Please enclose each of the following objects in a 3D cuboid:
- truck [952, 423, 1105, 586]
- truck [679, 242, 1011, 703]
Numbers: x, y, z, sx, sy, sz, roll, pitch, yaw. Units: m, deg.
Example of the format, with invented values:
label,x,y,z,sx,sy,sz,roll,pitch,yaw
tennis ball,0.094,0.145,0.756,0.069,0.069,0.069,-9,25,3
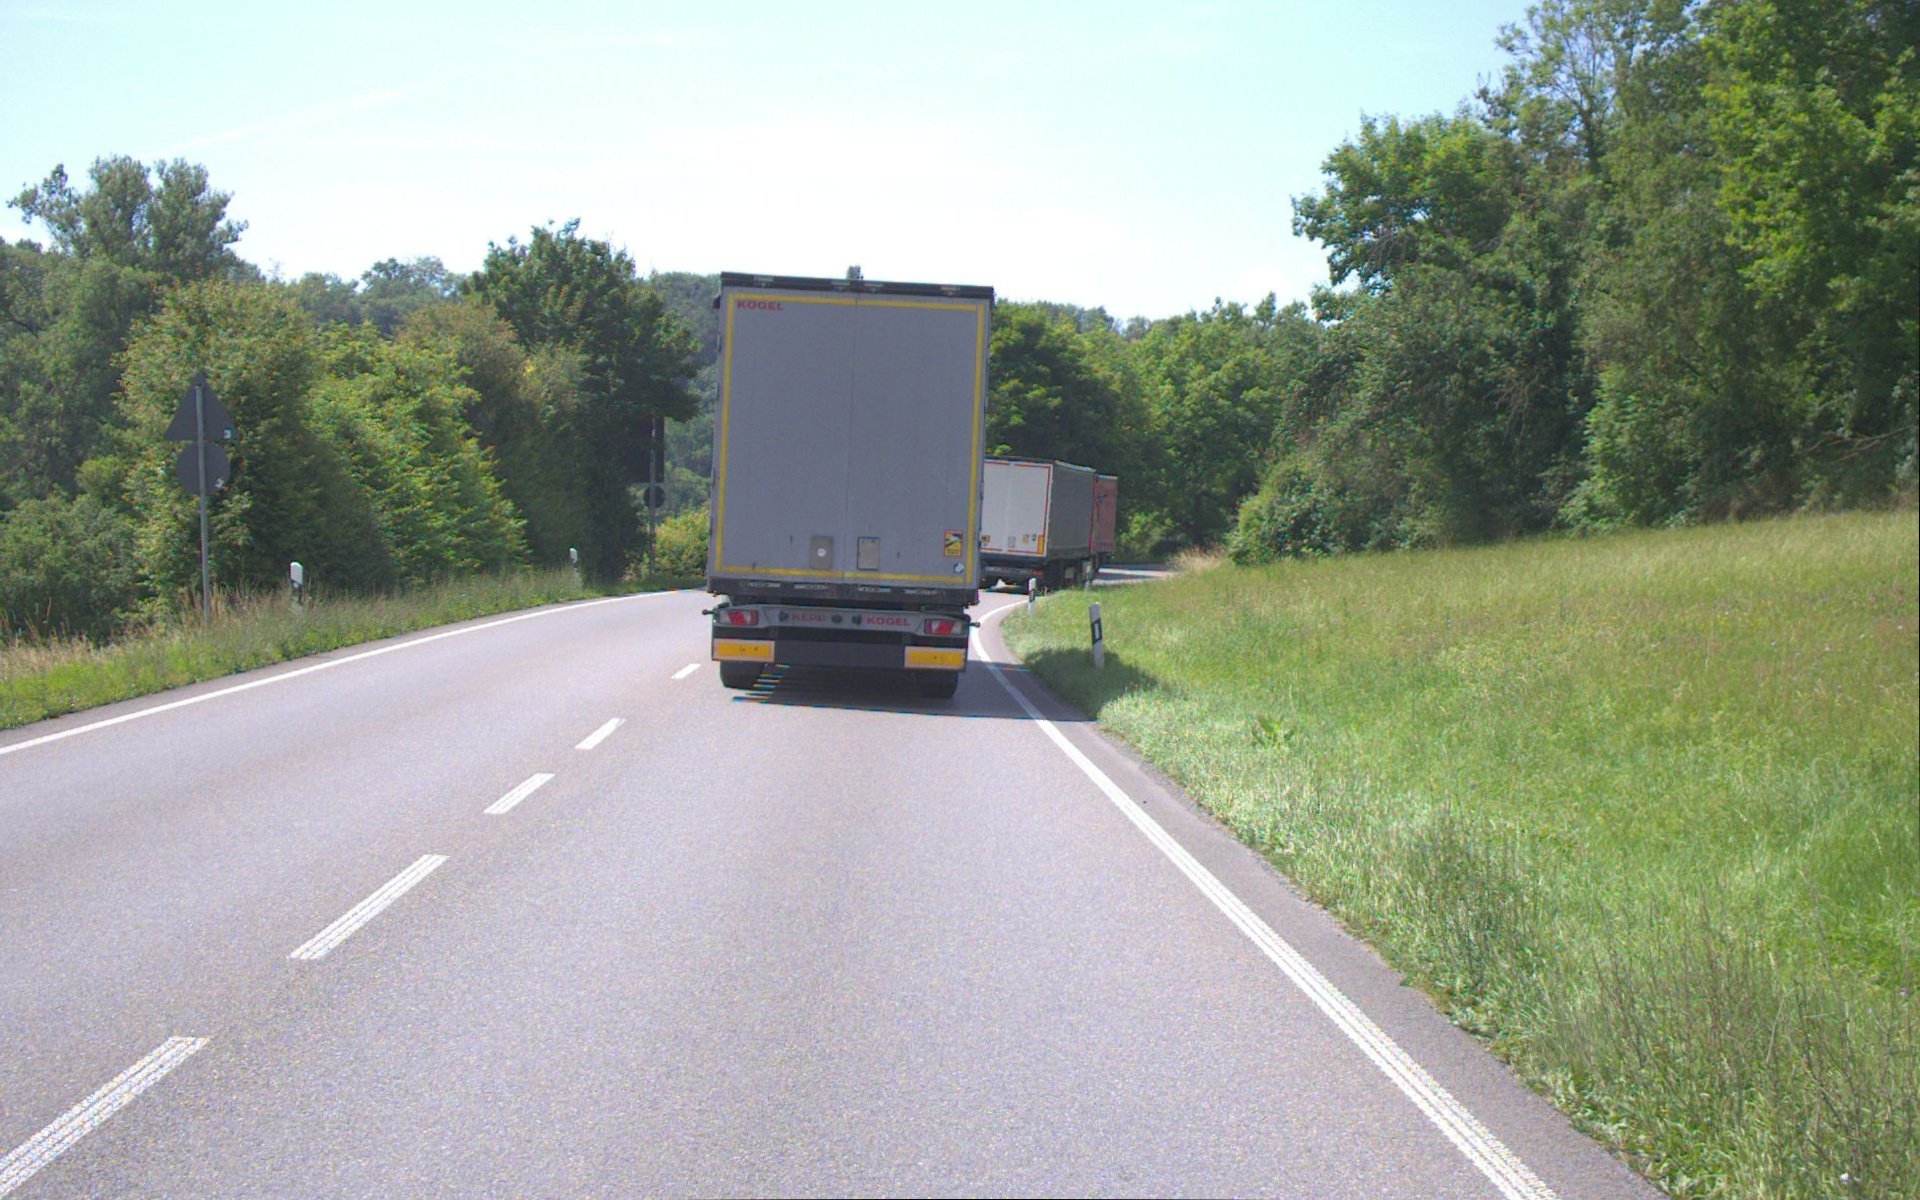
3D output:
label,x,y,z,sx,sy,sz,roll,pitch,yaw
truck,2.358,-3.032,109.868,3.106,4.689,16.586,3,2,6
truck,-1.276,-1.281,39.109,2.801,4.054,15.327,3,1,-2
